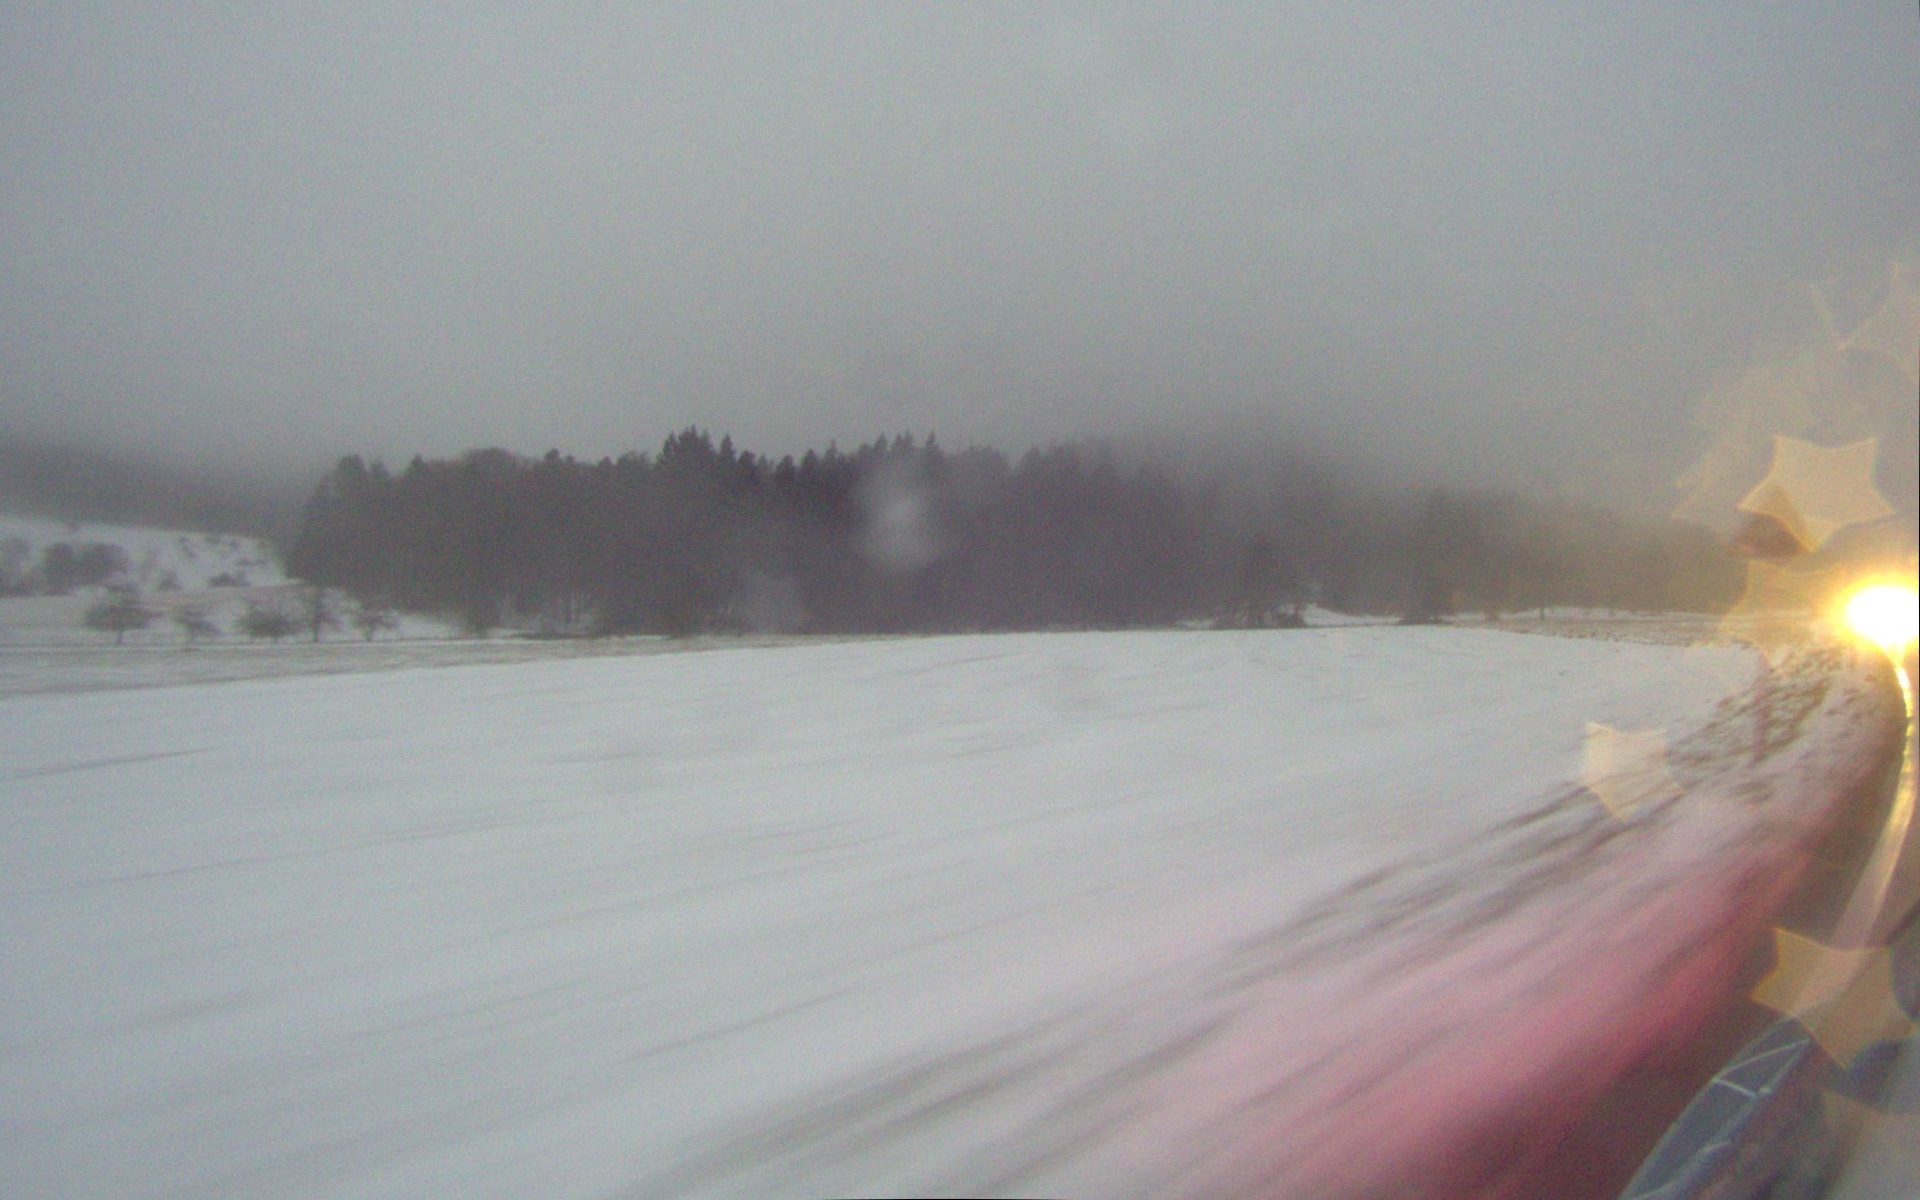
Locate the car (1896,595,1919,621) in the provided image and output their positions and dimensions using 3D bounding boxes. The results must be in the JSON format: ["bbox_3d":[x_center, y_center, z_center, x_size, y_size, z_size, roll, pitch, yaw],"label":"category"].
[{"bbox_3d":[77.876,0.654,82.570,3.935,2.039,1.994,-1,-1,-44],"label":"car"}]
